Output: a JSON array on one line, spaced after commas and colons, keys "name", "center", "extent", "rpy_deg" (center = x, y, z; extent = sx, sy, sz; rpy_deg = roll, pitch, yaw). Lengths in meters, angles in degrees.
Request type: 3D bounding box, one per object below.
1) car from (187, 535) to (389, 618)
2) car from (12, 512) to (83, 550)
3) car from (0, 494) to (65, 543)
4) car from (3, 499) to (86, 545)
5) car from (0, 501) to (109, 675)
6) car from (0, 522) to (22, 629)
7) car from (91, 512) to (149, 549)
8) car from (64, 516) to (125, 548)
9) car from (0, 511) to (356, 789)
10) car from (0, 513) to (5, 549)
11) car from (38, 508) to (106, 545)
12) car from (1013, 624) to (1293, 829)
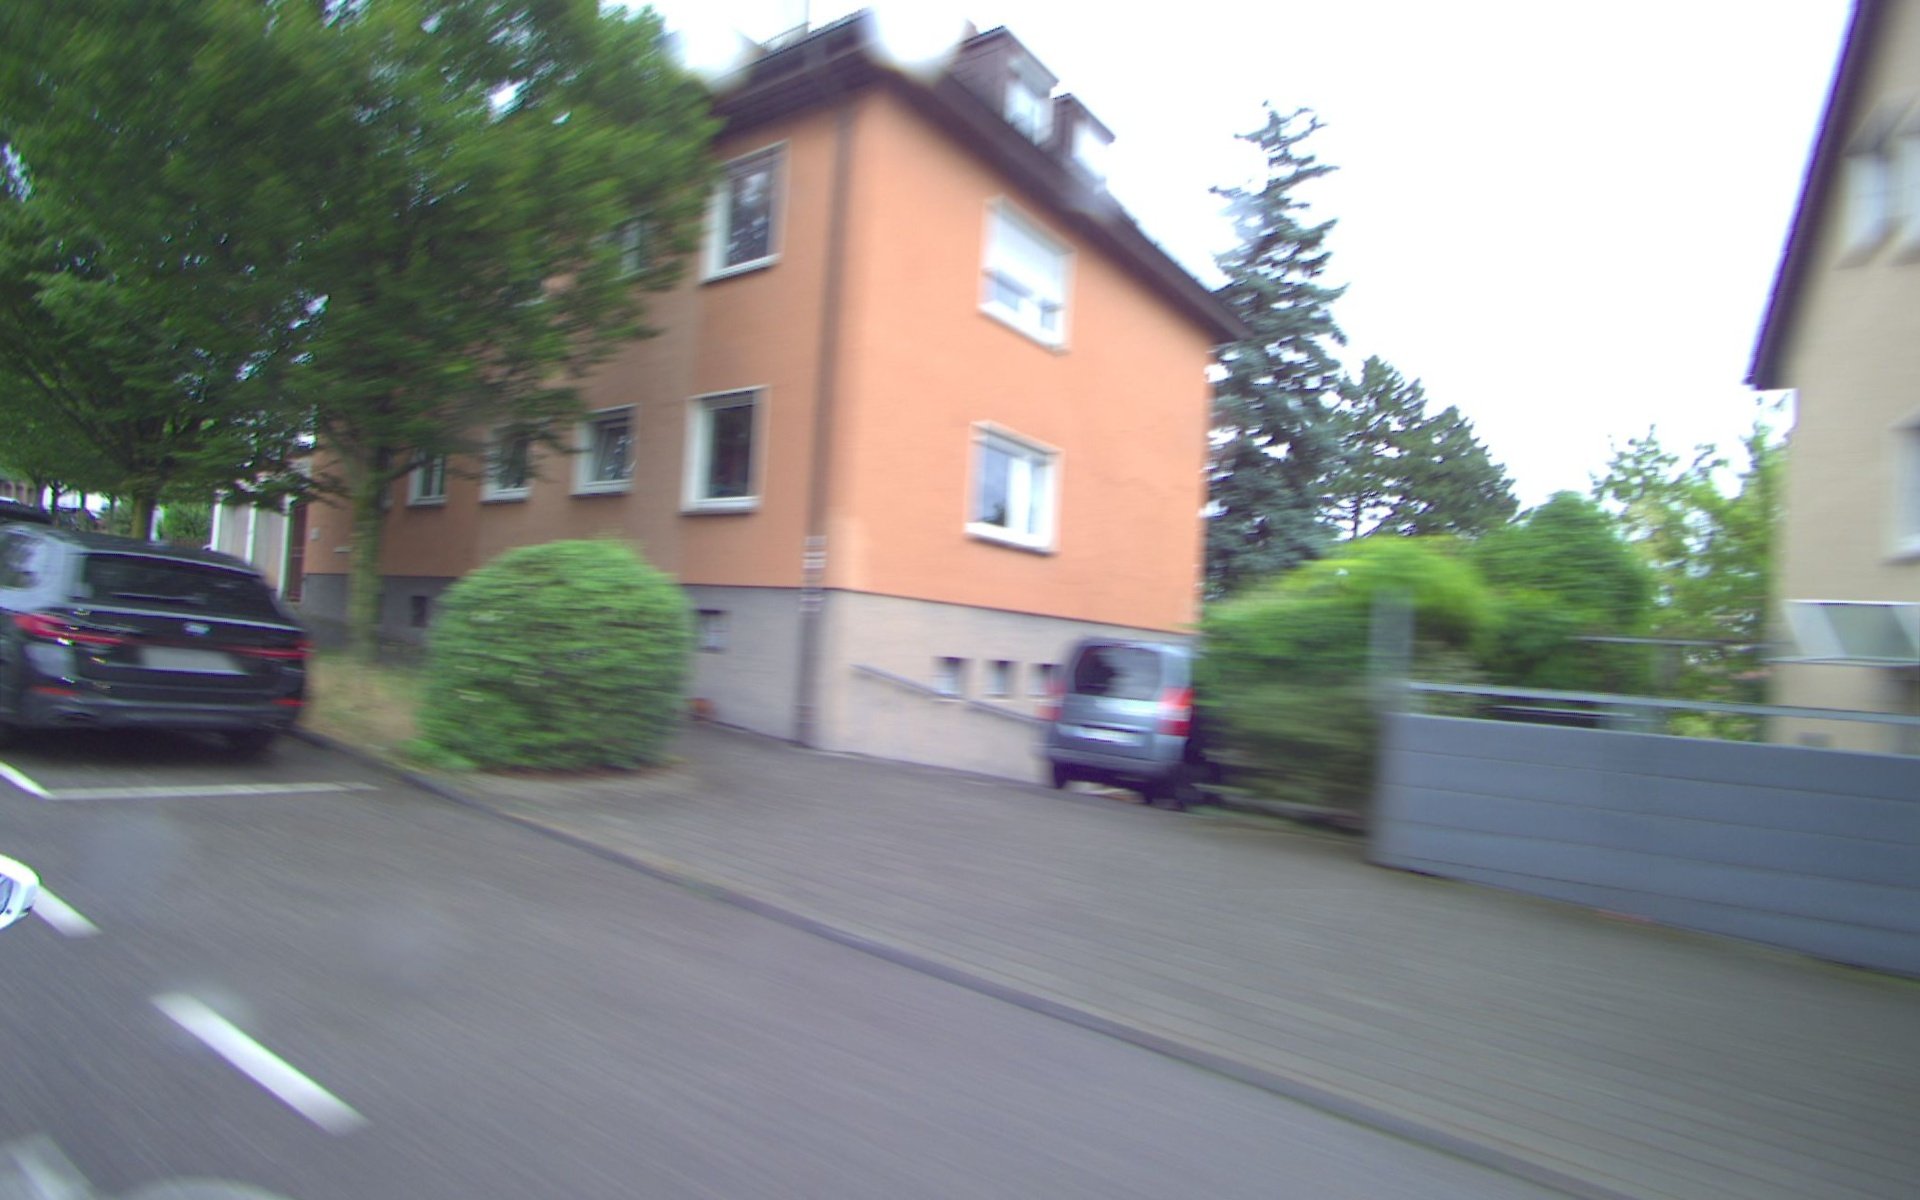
[{"name": "car", "center": [-18.334, -0.582, 27.546], "extent": [4.290, 1.480, 1.915], "rpy_deg": [11, -6, -40]}, {"name": "car", "center": [-43.399, -3.268, 47.908], "extent": [1.633, 1.440, 4.251], "rpy_deg": [10, -2, -32]}, {"name": "car", "center": [-36.232, -3.151, 39.155], "extent": [1.647, 1.536, 3.959], "rpy_deg": [9, -2, -37]}, {"name": "car", "center": [-39.172, -3.283, 43.149], "extent": [1.766, 1.570, 4.686], "rpy_deg": [9, -2, -34]}, {"name": "car", "center": [-11.542, -0.346, 11.468], "extent": [5.165, 1.675, 2.051], "rpy_deg": [6, -2, 42]}, {"name": "car", "center": [-15.914, -0.652, 15.153], "extent": [4.983, 1.485, 1.863], "rpy_deg": [6, -4, 40]}, {"name": "car", "center": [-51.312, -4.214, 61.518], "extent": [1.765, 1.874, 4.390], "rpy_deg": [8, -1, -30]}, {"name": "car", "center": [-49.001, -3.821, 56.998], "extent": [1.636, 1.499, 3.991], "rpy_deg": [8, -1, -28]}, {"name": "car", "center": [-6.972, 0.185, 7.922], "extent": [4.781, 1.599, 1.857], "rpy_deg": [6, -2, 34]}, {"name": "car", "center": [-35.136, -2.452, 35.524], "extent": [1.620, 1.580, 2.991], "rpy_deg": [9, -2, -38]}, {"name": "car", "center": [-46.166, -3.793, 52.372], "extent": [1.703, 1.573, 4.131], "rpy_deg": [10, -2, -30]}, {"name": "car", "center": [2.561, 1.669, 12.473], "extent": [1.872, 1.821, 4.007], "rpy_deg": [4, -11, 34]}]
